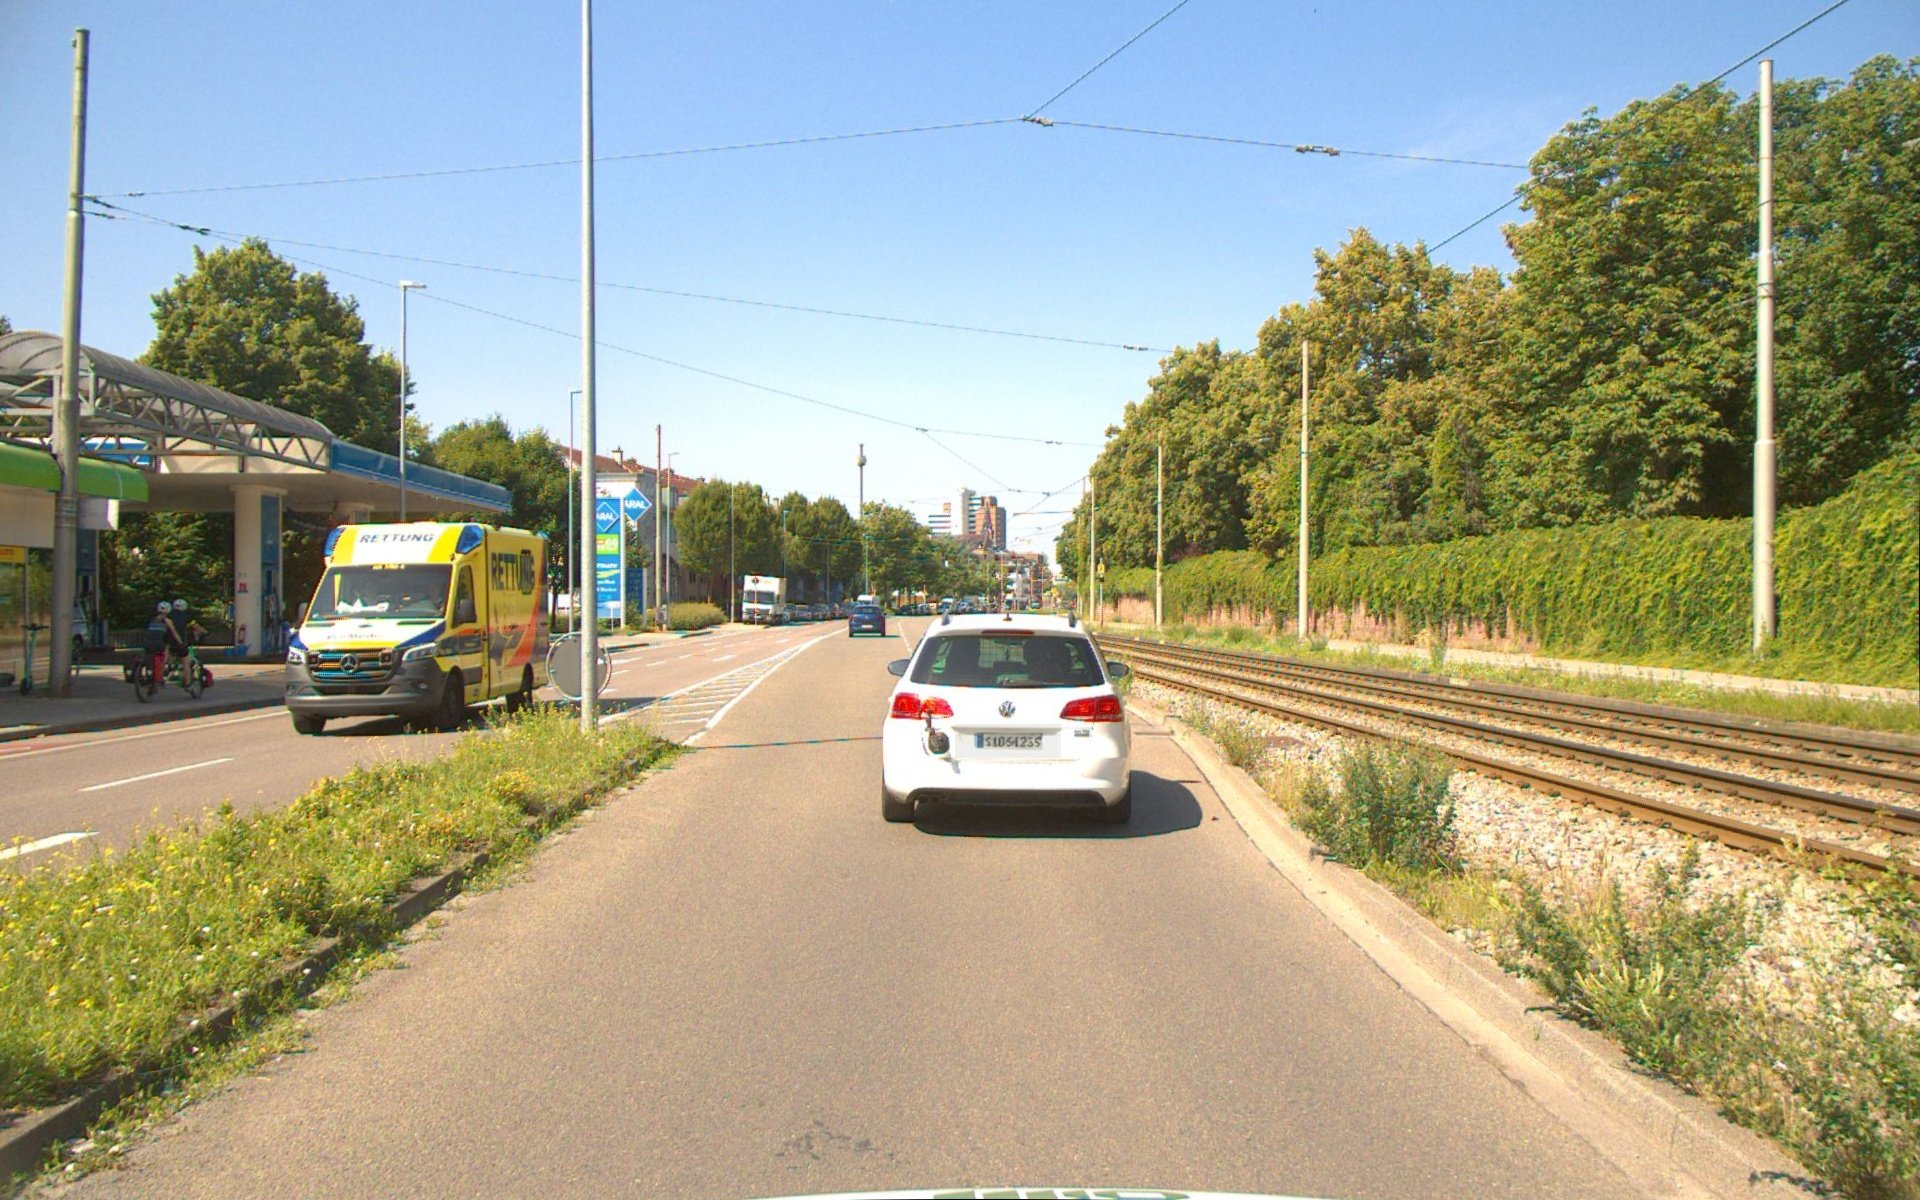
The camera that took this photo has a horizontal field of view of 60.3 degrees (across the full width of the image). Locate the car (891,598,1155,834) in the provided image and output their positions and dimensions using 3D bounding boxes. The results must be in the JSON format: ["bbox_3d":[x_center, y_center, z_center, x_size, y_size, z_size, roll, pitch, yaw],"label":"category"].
[{"bbox_3d":[0.356,0.748,12.708,1.657,1.476,4.457,1,0,-1],"label":"car"}]

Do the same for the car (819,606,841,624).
[{"bbox_3d":[-13.469,1.561,172.014,1.733,1.753,4.871,2,0,2],"label":"car"}]

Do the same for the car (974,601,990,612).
[{"bbox_3d":[3.078,0.925,229.558,1.762,1.486,4.003,1,0,6],"label":"car"}]

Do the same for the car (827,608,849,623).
[{"bbox_3d":[-13.081,1.690,177.486,1.655,1.500,4.050,2,0,4],"label":"car"}]

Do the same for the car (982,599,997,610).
[{"bbox_3d":[4.229,0.623,237.179,1.762,1.486,4.003,0,0,6],"label":"car"}]

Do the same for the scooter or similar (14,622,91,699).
[{"bbox_3d":[-15.518,1.021,28.308,0.432,1.259,1.346,-1,0,7],"label":"scooter or similar"}]

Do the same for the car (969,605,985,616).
[{"bbox_3d":[2.338,1.418,224.016,1.762,1.534,4.003,1,0,6],"label":"car"}]

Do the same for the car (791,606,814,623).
[{"bbox_3d":[-14.621,1.369,153.833,1.744,1.509,4.856,1,-1,-1],"label":"car"}]

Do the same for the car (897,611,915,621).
[{"bbox_3d":[-7.385,2.184,226.724,1.663,1.442,4.003,-1,-1,10],"label":"car"}]

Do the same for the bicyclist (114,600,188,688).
[{"bbox_3d":[-13.773,0.737,28.162,0.829,1.461,0.833,1,1,2],"label":"bicyclist"}]

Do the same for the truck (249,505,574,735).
[{"bbox_3d":[-7.427,0.238,23.504,2.283,2.715,7.357,-1,0,-1],"label":"truck"}]

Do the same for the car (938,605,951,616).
[{"bbox_3d":[-2.152,1.484,230.598,1.624,1.445,4.311,-2,0,3],"label":"car"}]

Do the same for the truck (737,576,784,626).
[{"bbox_3d":[-14.787,0.095,123.192,2.613,3.592,8.587,1,0,-1],"label":"truck"}]

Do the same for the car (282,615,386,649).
[{"bbox_3d":[-26.636,1.363,70.523,1.762,1.369,4.244,-1,0,21],"label":"car"}]

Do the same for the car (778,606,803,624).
[{"bbox_3d":[-14.669,1.288,143.189,1.695,1.579,4.317,1,0,-1],"label":"car"}]

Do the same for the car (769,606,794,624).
[{"bbox_3d":[-14.608,1.235,135.492,1.722,1.454,4.280,1,0,-1],"label":"car"}]

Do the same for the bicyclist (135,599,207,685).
[{"bbox_3d":[-13.746,0.719,28.830,0.829,1.461,0.832,-1,0,1],"label":"bicyclist"}]

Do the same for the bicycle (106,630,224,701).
[{"bbox_3d":[-13.771,1.105,28.763,0.808,1.114,2.771,0,0,-2],"label":"bicycle"}]

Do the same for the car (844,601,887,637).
[{"bbox_3d":[-4.287,0.859,75.666,1.764,1.534,3.999,1,1,-1],"label":"car"}]

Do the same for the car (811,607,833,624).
[{"bbox_3d":[-13.893,1.565,166.484,1.681,1.653,4.314,1,0,3],"label":"car"}]
